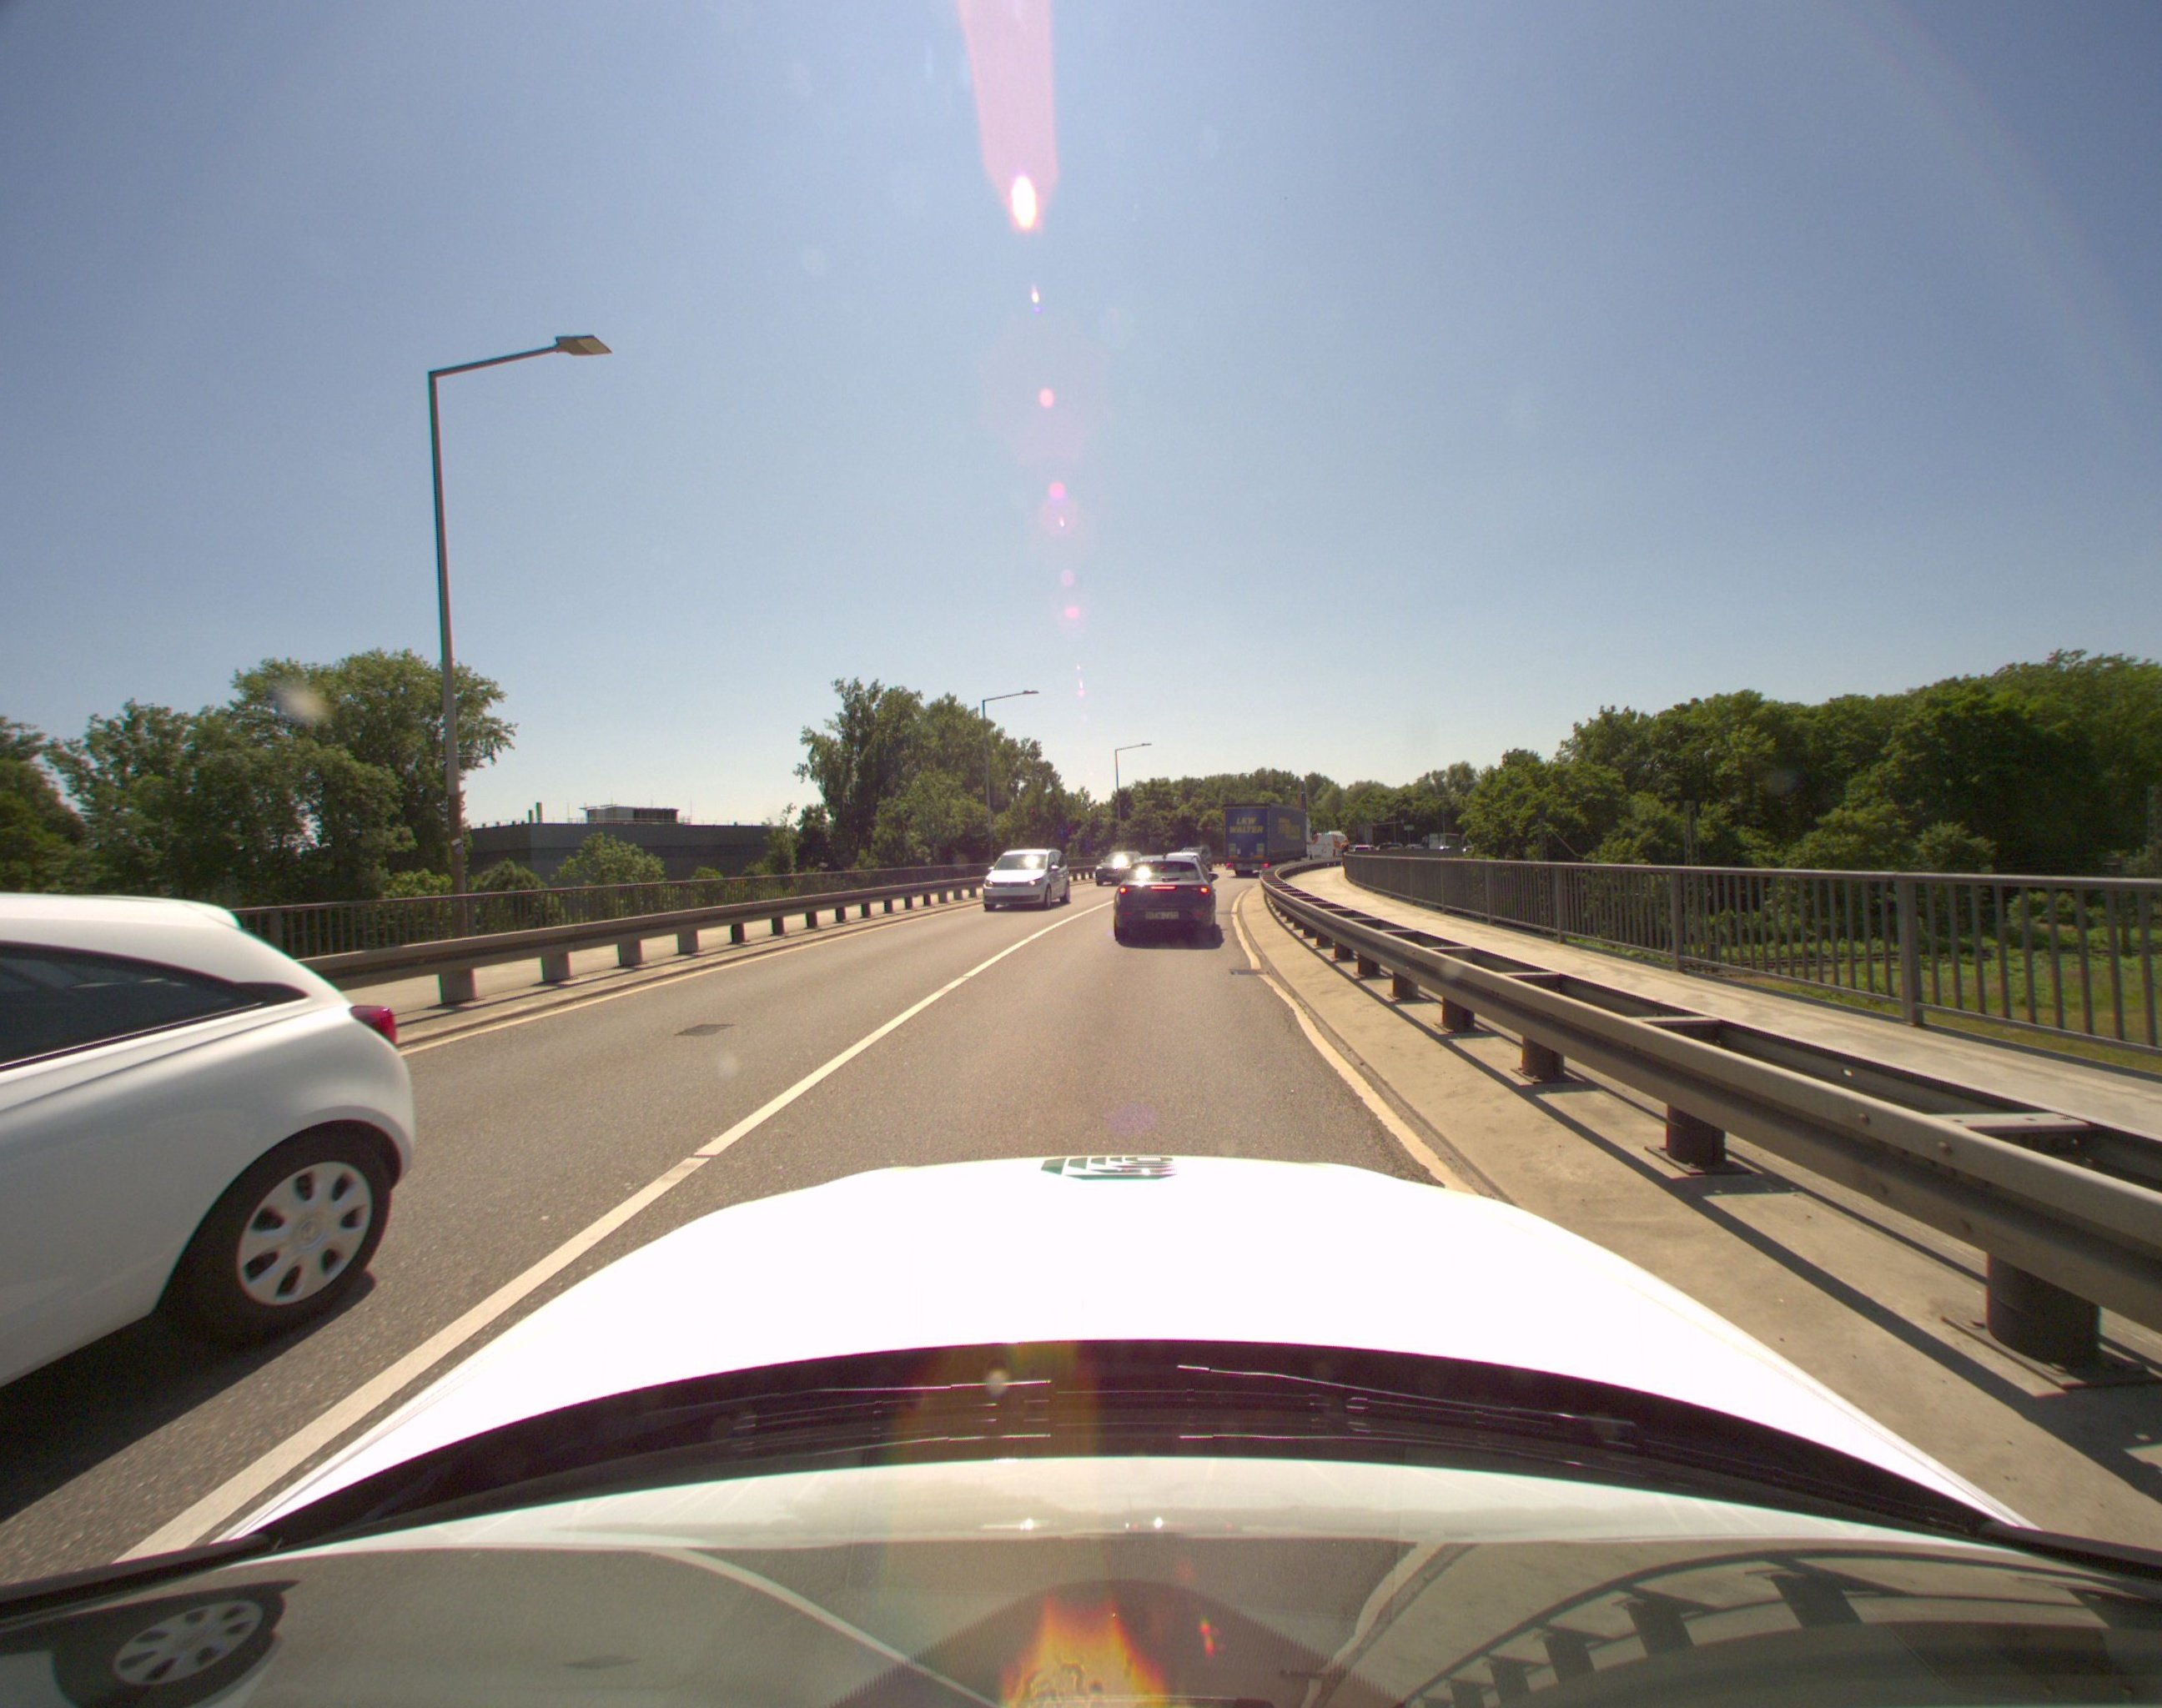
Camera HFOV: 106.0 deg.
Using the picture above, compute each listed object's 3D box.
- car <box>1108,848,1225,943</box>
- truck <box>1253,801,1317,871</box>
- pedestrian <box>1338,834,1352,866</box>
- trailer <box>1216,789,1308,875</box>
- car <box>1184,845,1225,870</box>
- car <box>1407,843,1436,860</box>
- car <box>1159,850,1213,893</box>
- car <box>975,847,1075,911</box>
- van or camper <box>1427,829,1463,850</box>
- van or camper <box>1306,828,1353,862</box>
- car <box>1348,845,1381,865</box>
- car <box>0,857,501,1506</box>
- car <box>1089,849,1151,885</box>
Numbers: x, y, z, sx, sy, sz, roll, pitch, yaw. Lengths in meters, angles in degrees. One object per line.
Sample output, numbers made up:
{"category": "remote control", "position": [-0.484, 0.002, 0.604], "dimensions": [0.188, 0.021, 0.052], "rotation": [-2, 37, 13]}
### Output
{"category": "car", "position": [1.513, 0.650, 14.876], "dimensions": [1.837, 1.498, 3.763], "rotation": [-1, 1, 4]}
{"category": "truck", "position": [14.358, -1.138, 56.827], "dimensions": [3.142, 4.585, 7.437], "rotation": [-1, -1, 23]}
{"category": "pedestrian", "position": [16.537, -0.257, 51.054], "dimensions": [0.730, 1.967, 0.738], "rotation": [-1, -1, 24]}
{"category": "trailer", "position": [11.418, -1.176, 50.091], "dimensions": [3.106, 4.614, 13.019], "rotation": [0, 0, 23]}
{"category": "car", "position": [8.271, 0.239, 54.388], "dimensions": [1.890, 1.589, 4.020], "rotation": [-2, -1, 20]}
{"category": "car", "position": [38.729, -0.268, 92.613], "dimensions": [1.870, 1.850, 4.025], "rotation": [-1, -1, 40]}
{"category": "car", "position": [3.840, 0.583, 29.428], "dimensions": [1.582, 1.461, 3.557], "rotation": [0, 0, 13]}
{"category": "car", "position": [-1.474, 0.651, 23.076], "dimensions": [1.704, 1.615, 4.132], "rotation": [-2, 0, 12]}
{"category": "van or camper", "position": [47.632, -1.908, 106.479], "dimensions": [4.986, 2.292, 2.463], "rotation": [4, 2, -43]}
{"category": "van or camper", "position": [20.769, -0.793, 67.828], "dimensions": [2.182, 2.711, 5.963], "rotation": [-1, 1, 32]}
{"category": "car", "position": [26.678, 0.072, 76.618], "dimensions": [1.870, 1.850, 4.025], "rotation": [-1, -1, 34]}
{"category": "car", "position": [-3.375, 0.783, 1.494], "dimensions": [1.718, 1.483, 3.867], "rotation": [-2, 0, 2]}
{"category": "car", "position": [1.843, 0.555, 37.030], "dimensions": [1.872, 1.496, 4.334], "rotation": [-2, 0, 15]}
